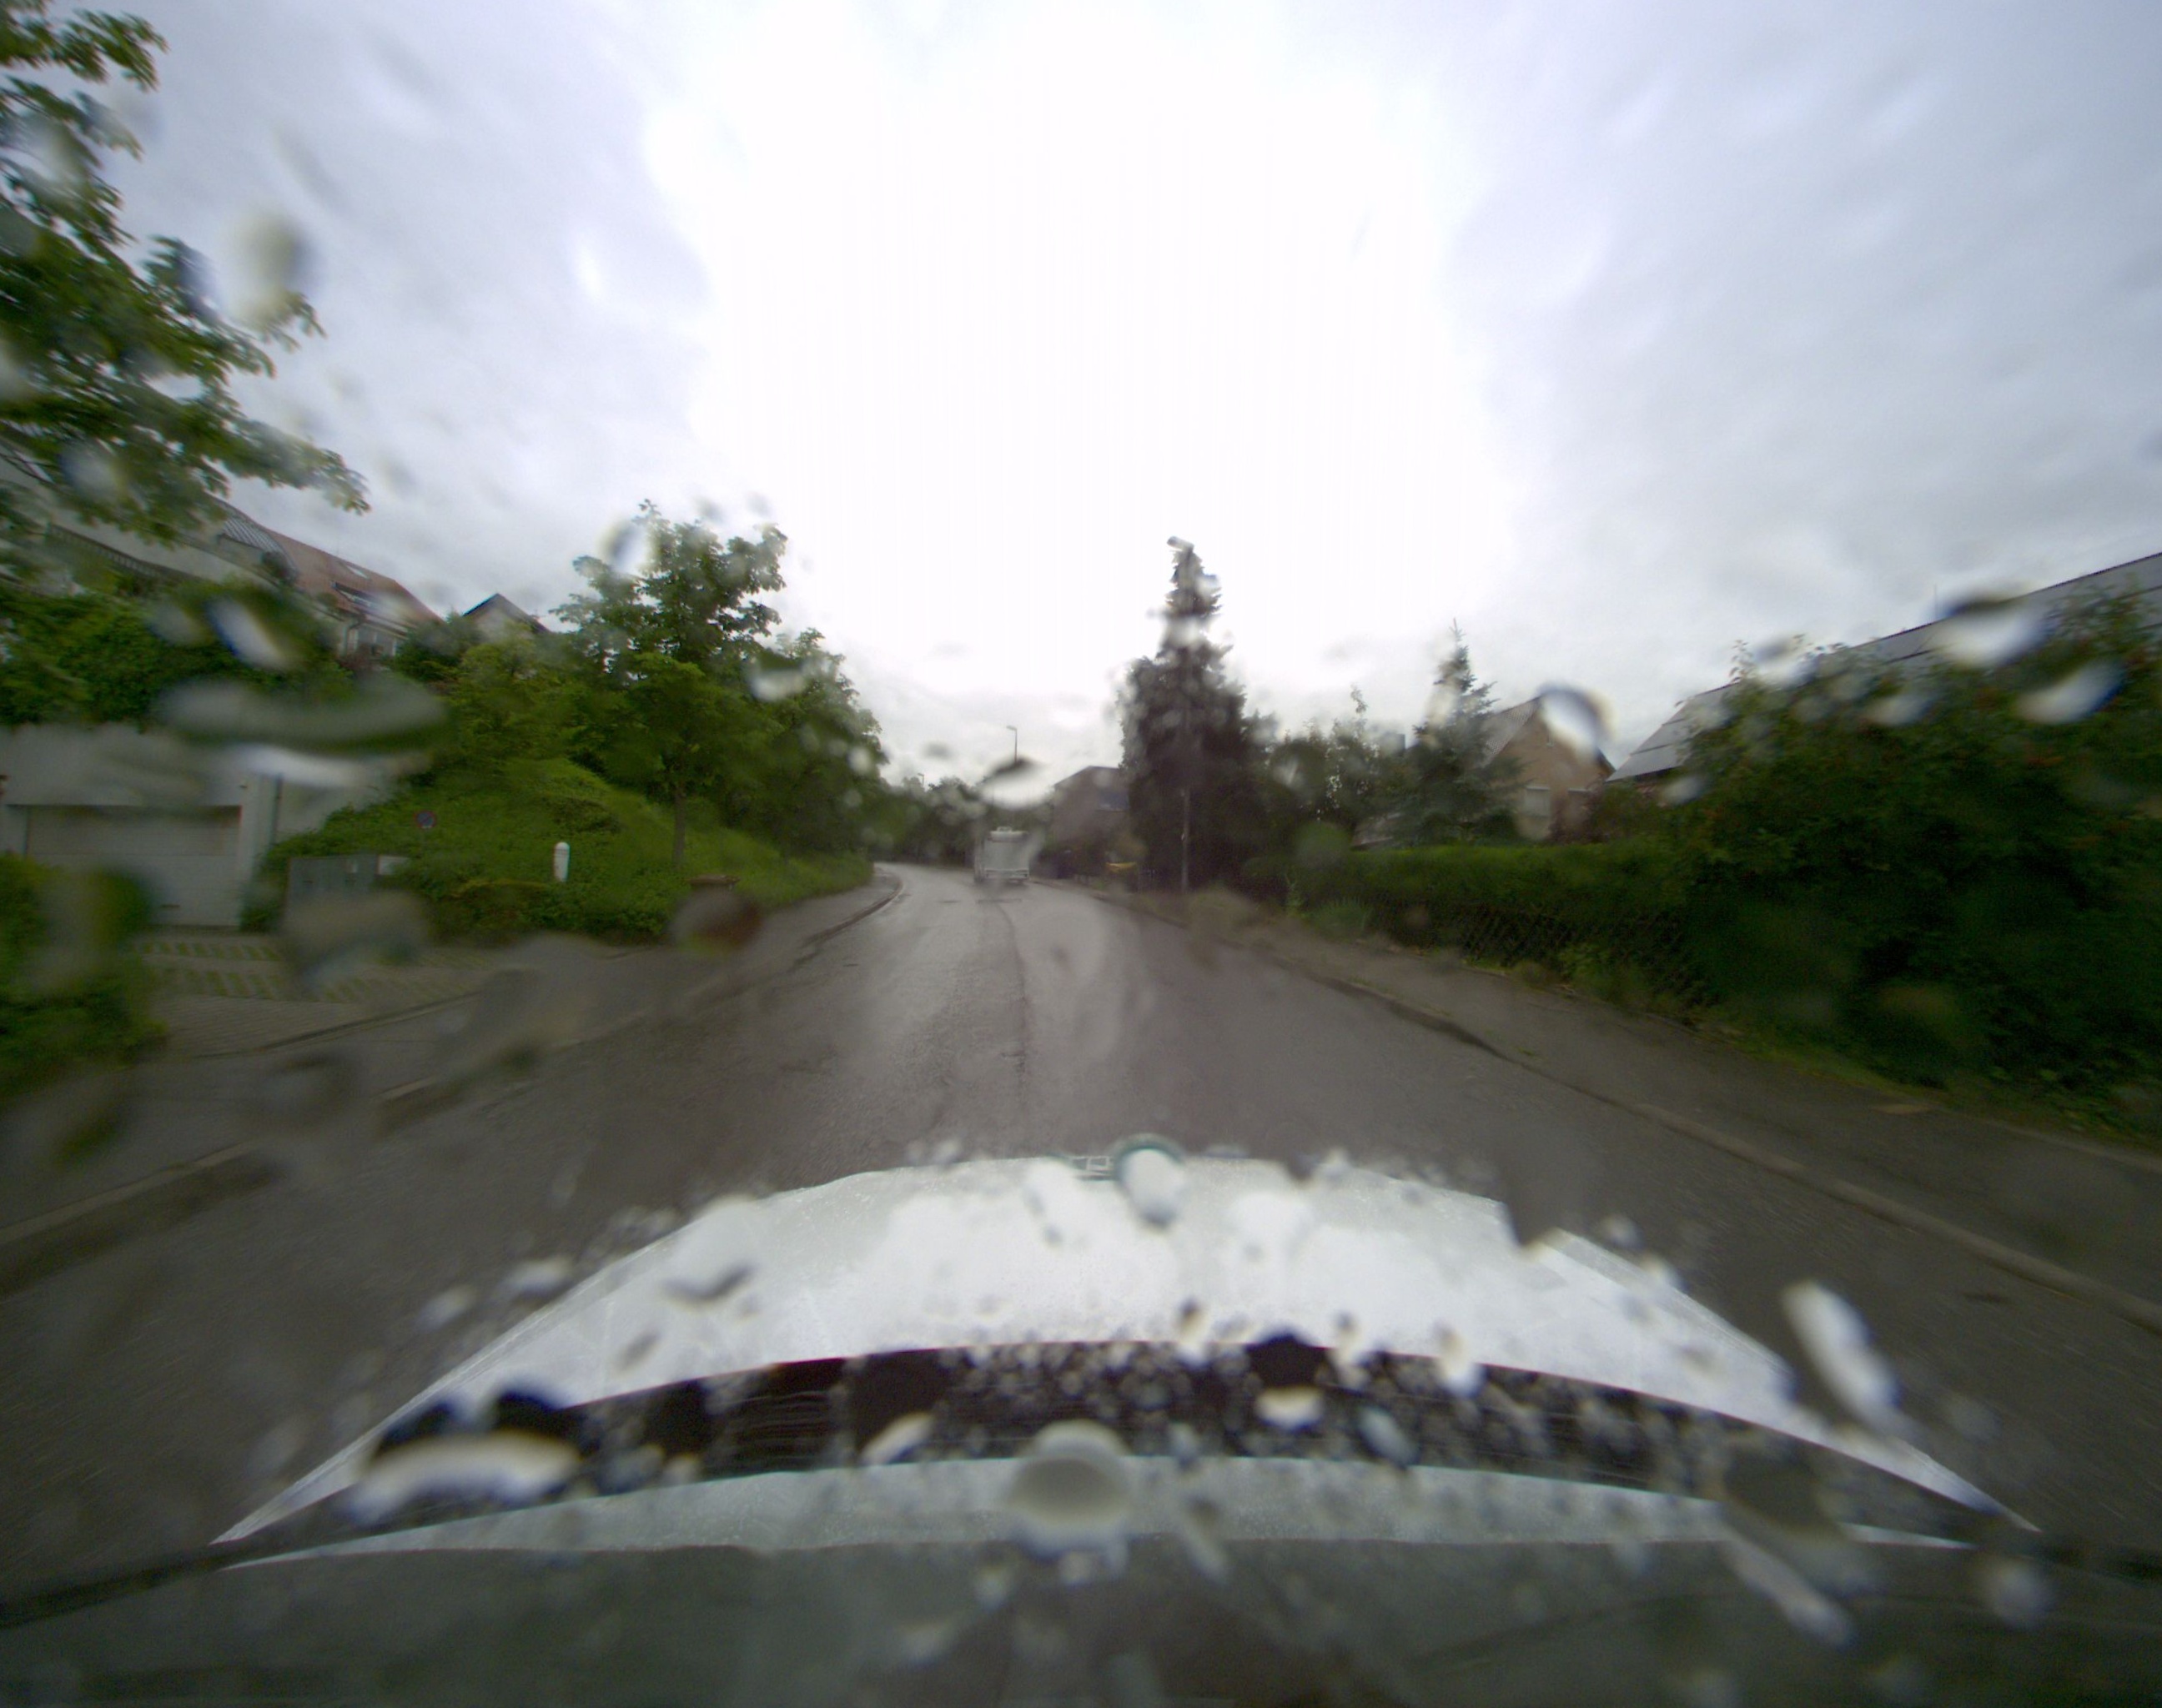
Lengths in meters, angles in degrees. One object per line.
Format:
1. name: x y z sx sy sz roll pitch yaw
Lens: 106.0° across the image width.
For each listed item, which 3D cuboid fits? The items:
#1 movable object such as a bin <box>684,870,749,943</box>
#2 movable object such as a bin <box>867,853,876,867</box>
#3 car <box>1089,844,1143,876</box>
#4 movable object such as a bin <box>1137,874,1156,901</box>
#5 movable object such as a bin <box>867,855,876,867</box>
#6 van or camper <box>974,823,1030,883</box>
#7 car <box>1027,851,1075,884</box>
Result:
1. movable object such as a bin: -6.015 0.853 13.467 0.692 1.090 0.803 3 3 -1
2. movable object such as a bin: -16.707 0.467 64.908 0.650 1.081 0.669 1 0 -18
3. car: 1.780 0.312 42.377 1.633 1.493 3.405 -5 1 -18
4. movable object such as a bin: 2.523 1.273 31.326 0.505 0.969 0.592 4 -1 -12
5. movable object such as a bin: -16.505 0.552 64.129 0.650 0.911 0.669 1 0 -18
6. van or camper: -4.220 -0.015 42.438 2.540 2.925 5.928 0 -1 -10
7. car: -1.984 0.906 52.735 1.998 1.941 4.745 1 -3 -17
